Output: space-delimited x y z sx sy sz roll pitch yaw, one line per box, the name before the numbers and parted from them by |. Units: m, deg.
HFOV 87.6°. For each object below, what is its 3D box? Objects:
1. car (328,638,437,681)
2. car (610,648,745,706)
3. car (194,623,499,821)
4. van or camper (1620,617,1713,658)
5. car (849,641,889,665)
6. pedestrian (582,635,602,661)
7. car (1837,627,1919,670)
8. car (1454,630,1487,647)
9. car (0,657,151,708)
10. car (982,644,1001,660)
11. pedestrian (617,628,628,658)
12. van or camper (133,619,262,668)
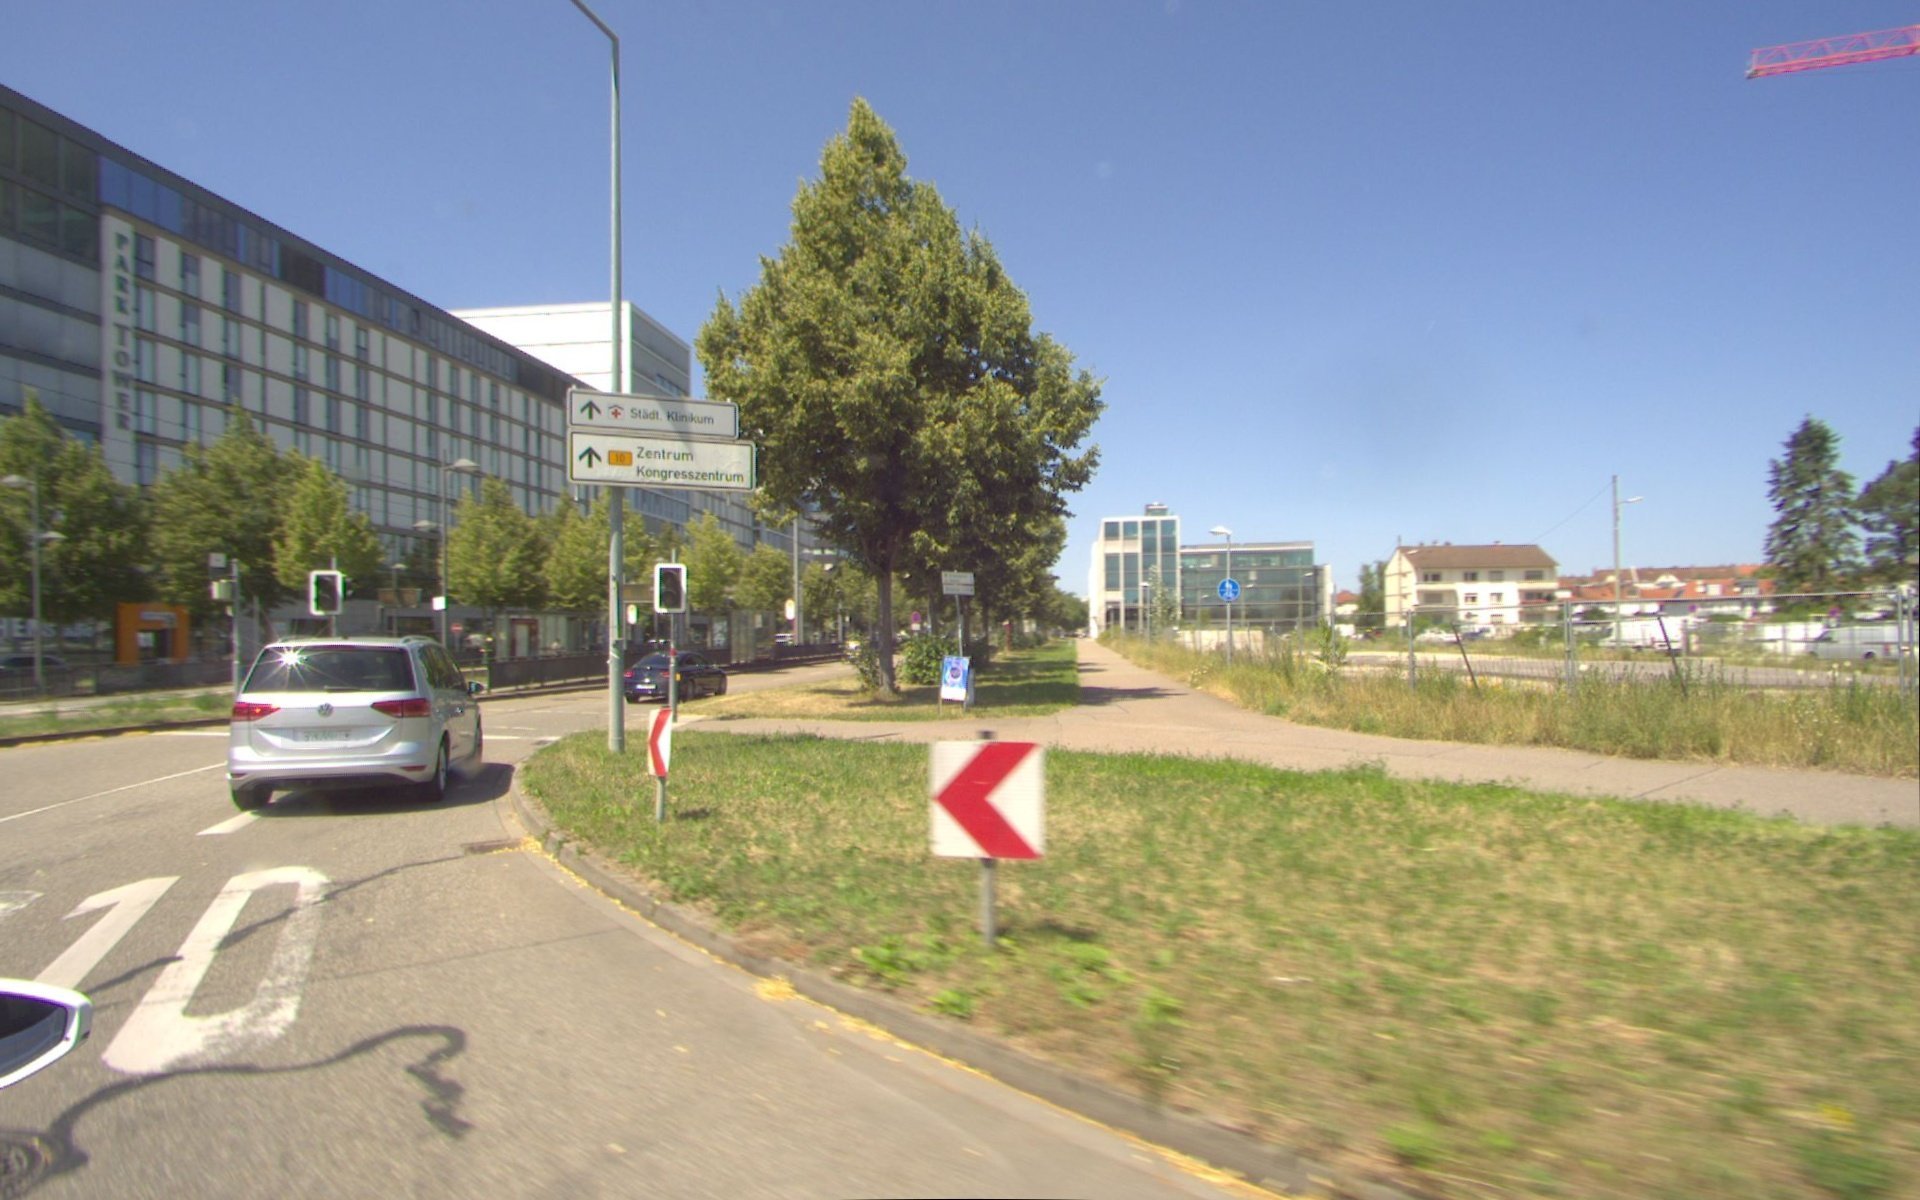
car | -30.212 3.106 52.636 1.962 2.132 5.544 -1 -3 8
car | -7.829 2.107 28.329 1.822 1.454 4.956 -1 -2 8
car | -6.323 1.180 10.941 1.776 1.669 4.597 3 -4 -18
van or camper | 48.062 2.605 68.373 1.892 2.634 7.006 0 -2 5
car | -5.720 3.354 63.279 1.593 1.469 3.989 -1 -3 8
pedestrian | -20.576 2.695 56.038 0.821 1.431 0.642 0 -2 7
car | 46.654 2.415 49.891 1.750 2.039 4.685 0 -2 -1
car | 50.955 3.850 100.013 1.648 1.605 3.625 -2 -4 5
car | -30.052 2.629 32.480 1.964 1.536 5.833 -1 -3 16
car | 3.374 5.564 106.859 1.737 1.647 3.718 0 -3 6
pedestrian | -20.417 2.598 60.580 0.403 1.774 0.586 0 -2 4
van or camper | -46.903 2.706 61.843 2.337 2.857 6.792 0 -3 5
